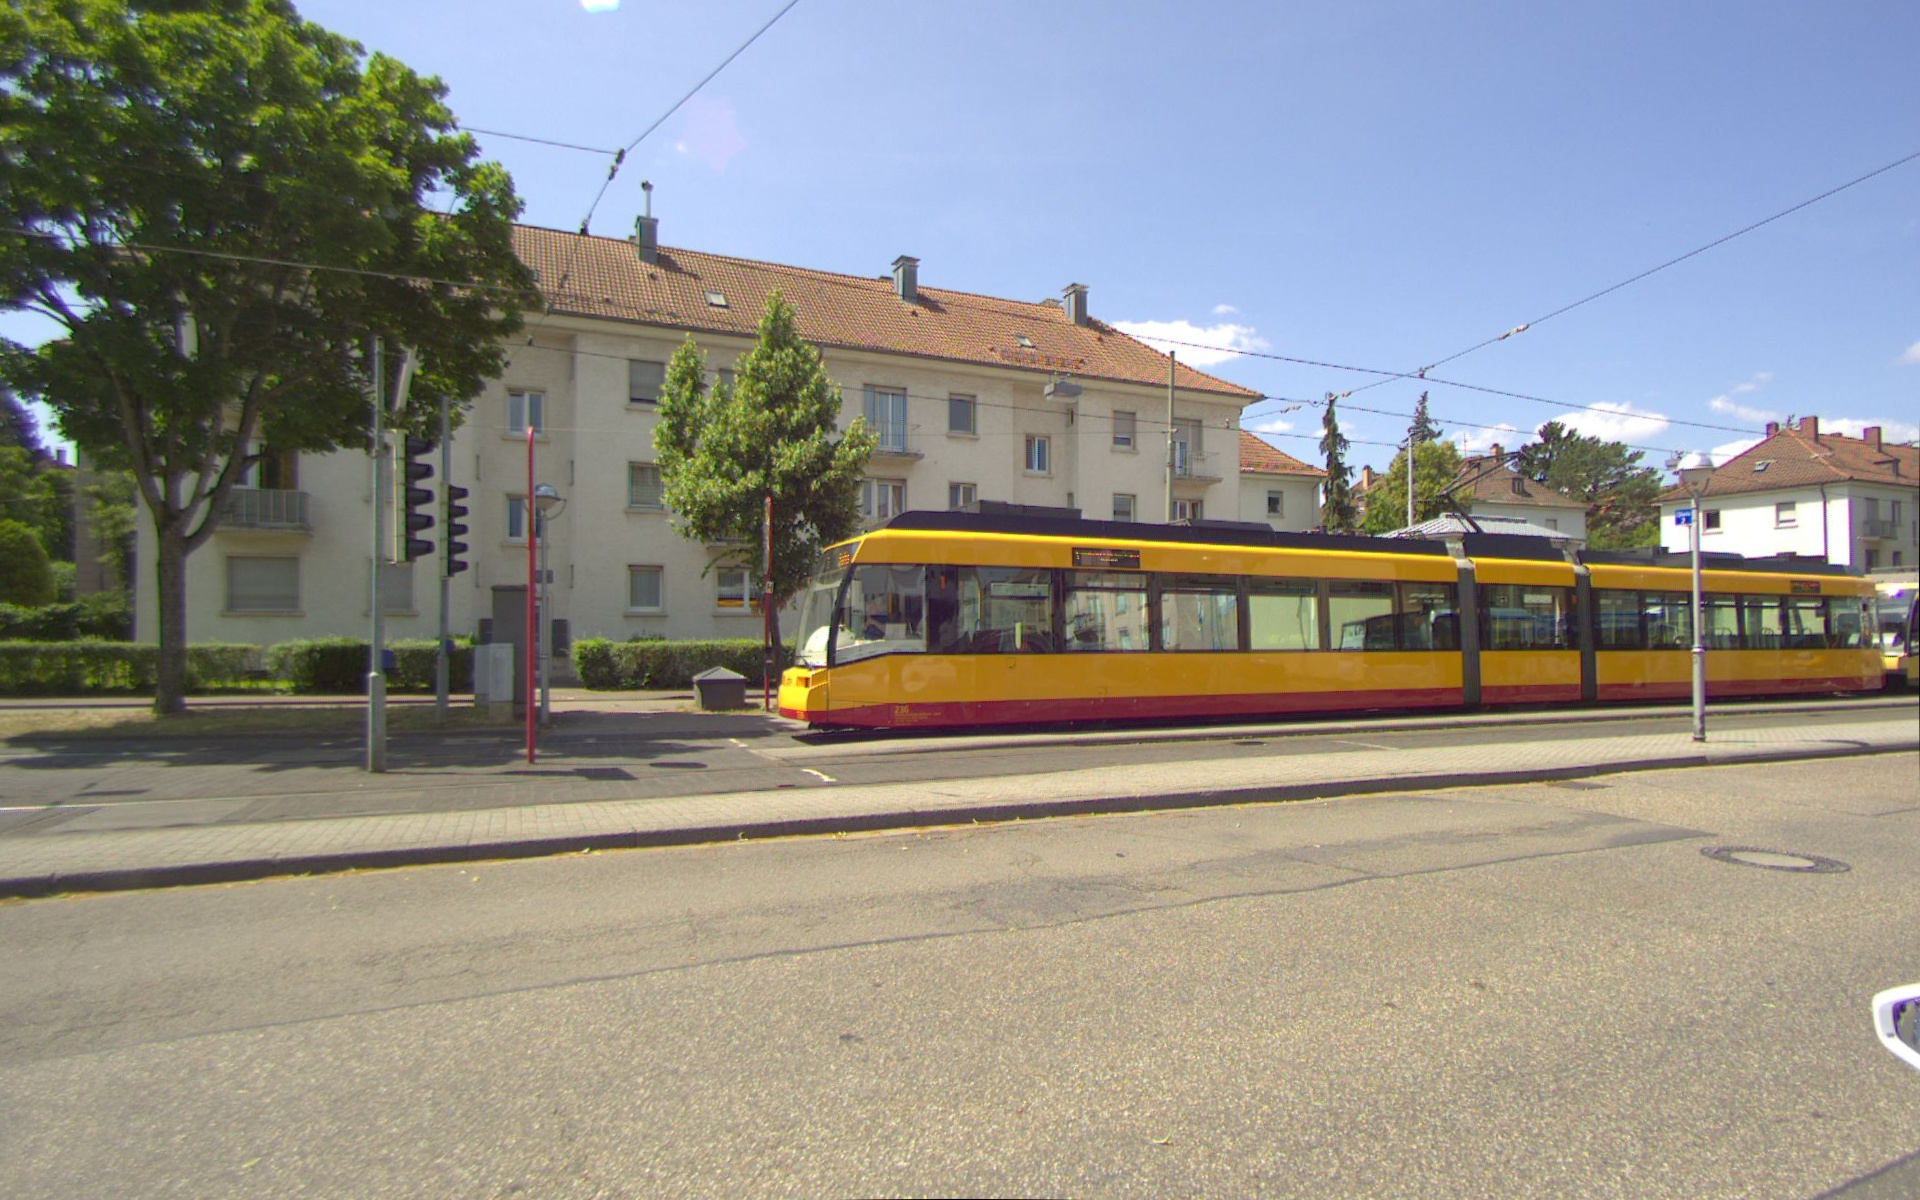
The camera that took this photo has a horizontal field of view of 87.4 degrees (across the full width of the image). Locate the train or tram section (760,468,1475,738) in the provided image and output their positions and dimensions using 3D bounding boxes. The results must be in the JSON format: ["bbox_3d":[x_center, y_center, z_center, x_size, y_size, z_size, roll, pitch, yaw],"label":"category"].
[{"bbox_3d":[3.157,0.166,17.170,12.540,3.542,2.955,1,0,-25],"label":"train or tram section"}]

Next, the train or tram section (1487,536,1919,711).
[{"bbox_3d":[18.335,0.595,24.237,12.484,3.542,2.955,1,0,-25],"label":"train or tram section"}]

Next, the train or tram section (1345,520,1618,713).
[{"bbox_3d":[10.707,0.402,20.748,4.357,3.541,2.956,1,-2,-25],"label":"train or tram section"}]

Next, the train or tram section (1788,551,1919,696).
[{"bbox_3d":[31.663,0.778,30.510,17.115,3.691,2.954,1,0,-25],"label":"train or tram section"}]
